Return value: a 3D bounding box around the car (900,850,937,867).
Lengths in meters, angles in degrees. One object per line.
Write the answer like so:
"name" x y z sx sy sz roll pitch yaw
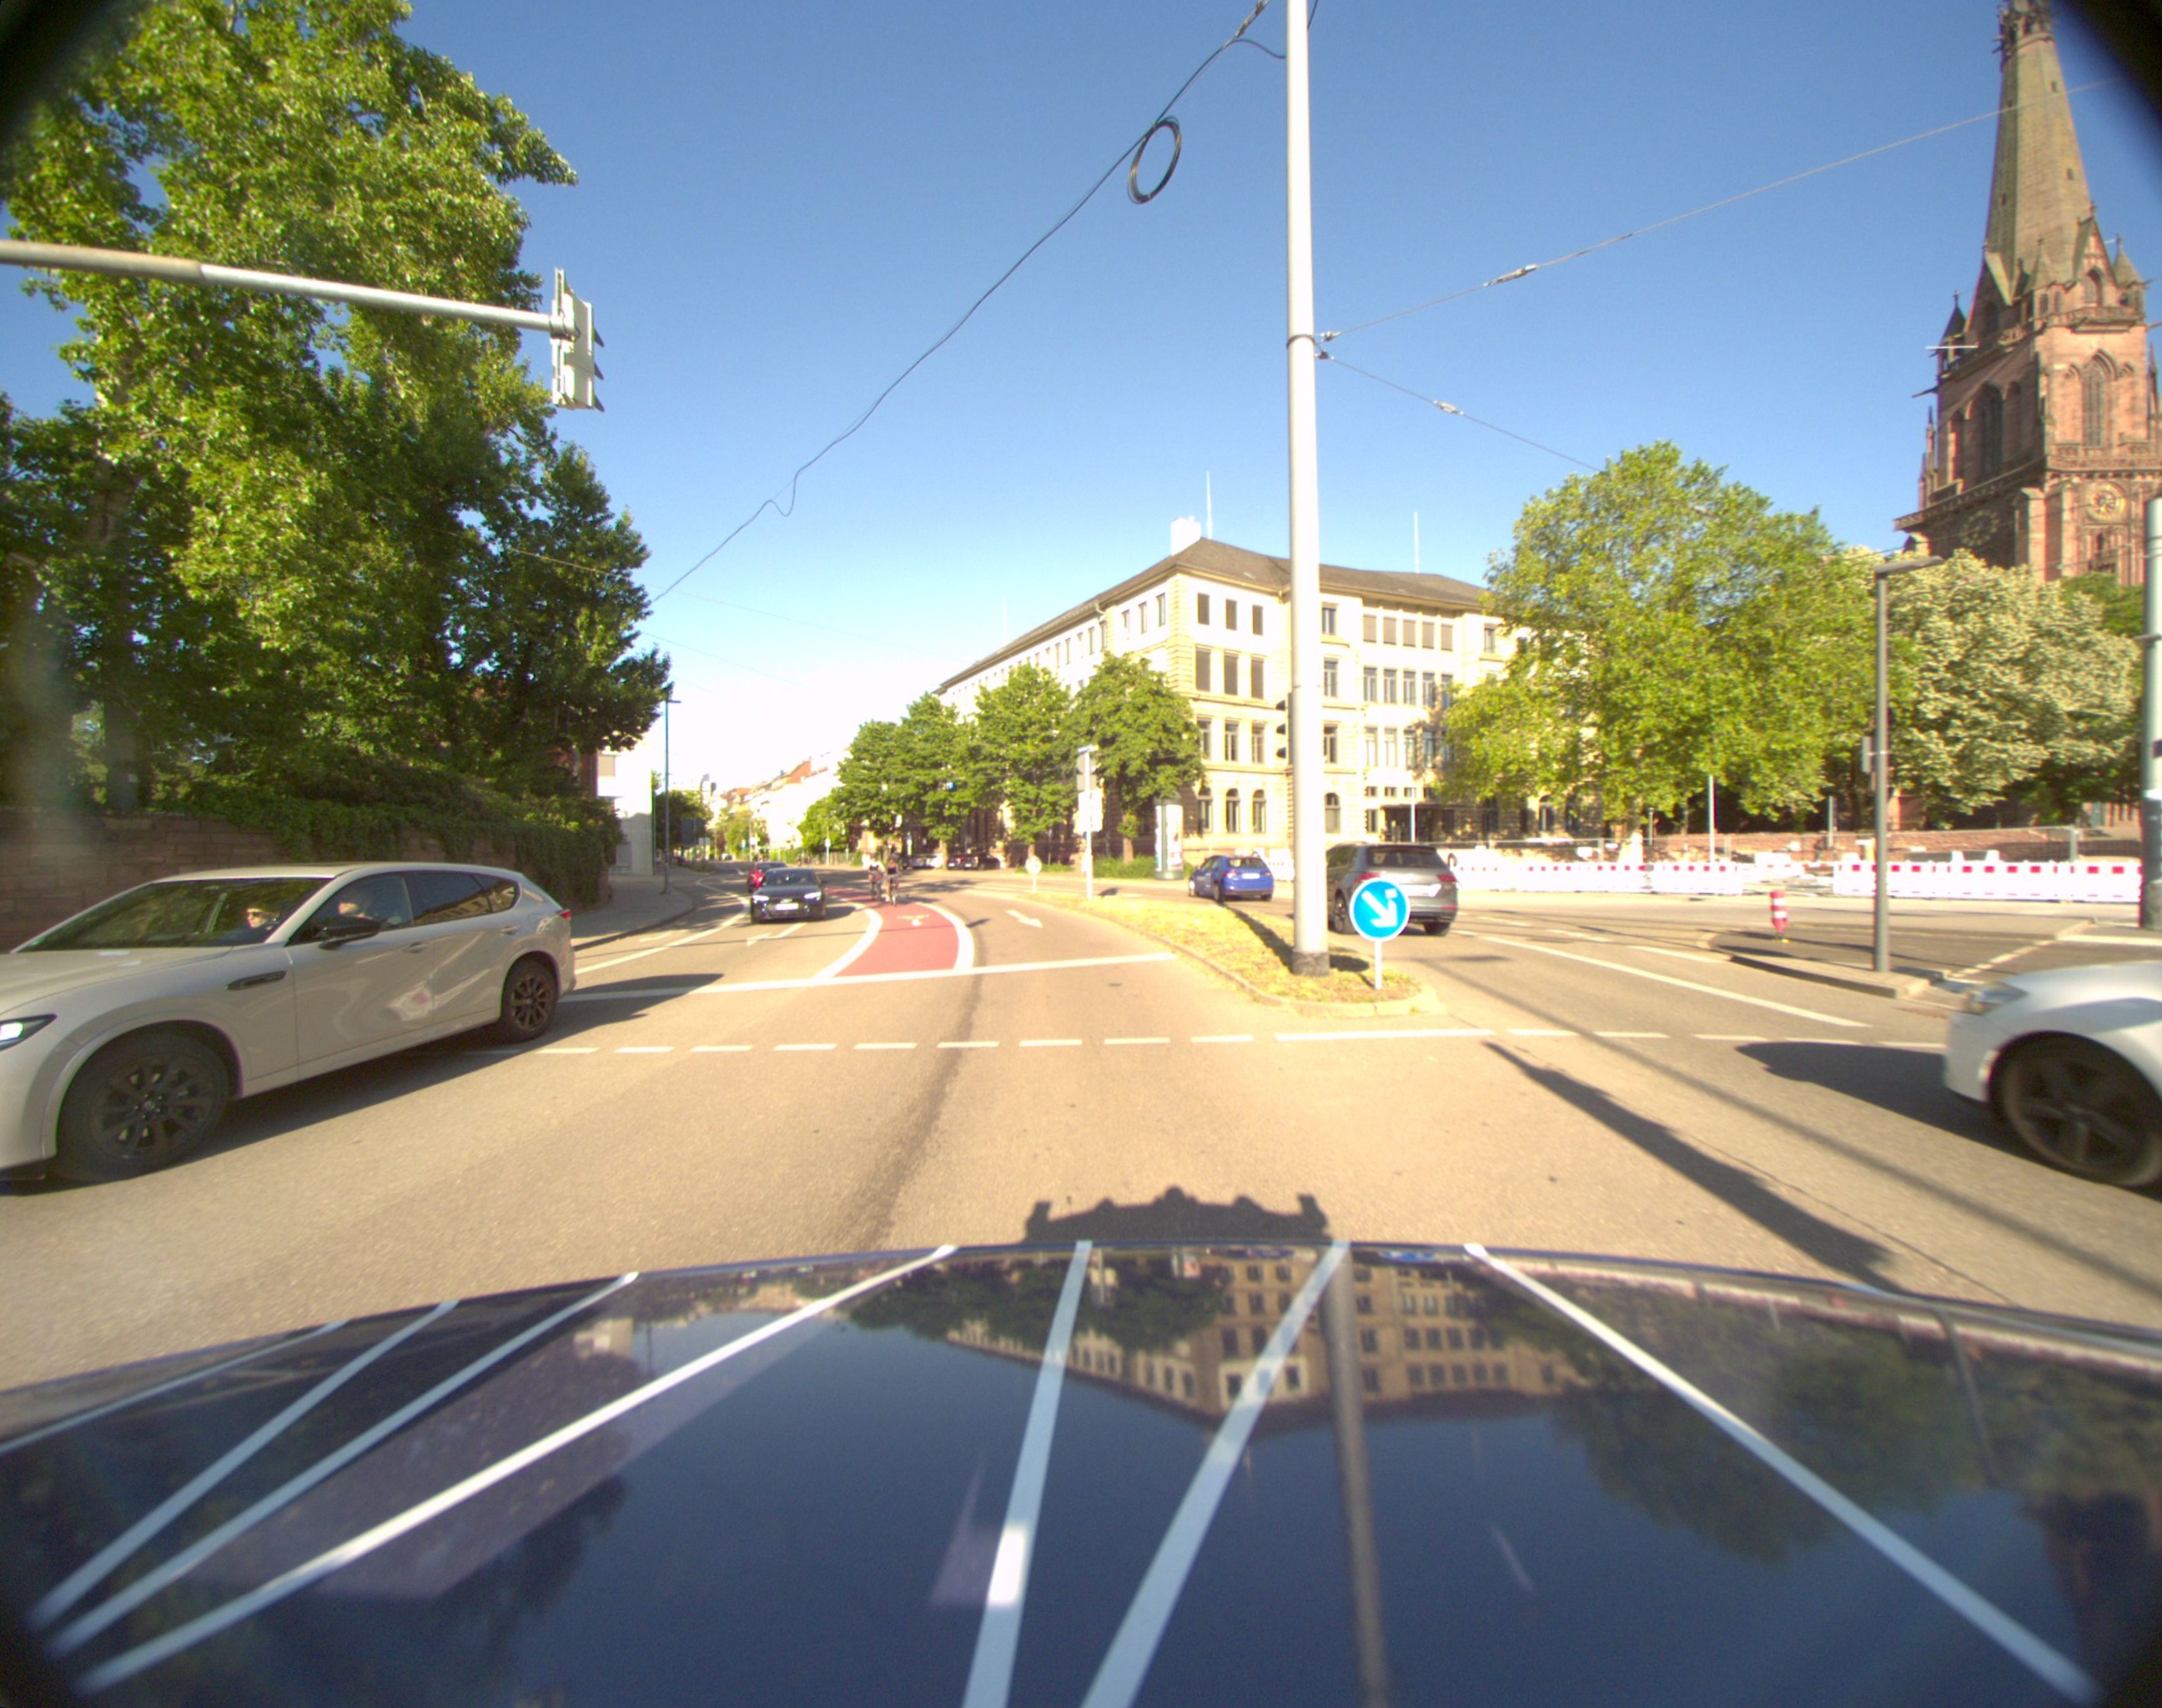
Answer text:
"car" -16.226 0.447 76.153 1.646 1.552 3.655 -2 2 26

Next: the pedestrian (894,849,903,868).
"pedestrian" -16.384 0.405 68.296 0.676 1.638 0.816 -2 1 -21

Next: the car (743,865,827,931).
"car" -7.883 1.105 20.563 1.790 1.425 3.993 -3 1 -18

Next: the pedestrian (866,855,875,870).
"pedestrian" -23.950 0.935 86.415 0.677 1.638 0.815 -2 1 -30

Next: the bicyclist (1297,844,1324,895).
"bicyclist" 7.576 0.501 25.107 0.710 1.648 0.743 0 1 2

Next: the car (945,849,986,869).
"car" -10.079 0.411 66.377 1.646 1.552 3.655 -2 2 26

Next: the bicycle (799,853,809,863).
"bicycle" -35.487 0.482 97.313 0.677 1.243 2.451 -1 1 -30

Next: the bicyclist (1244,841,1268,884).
"bicyclist" 6.857 0.327 29.859 0.710 1.648 0.901 2 1 2

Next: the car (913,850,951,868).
"car" -14.361 0.456 73.225 1.646 1.552 3.655 -2 2 26

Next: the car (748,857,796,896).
"car" -13.917 0.959 34.130 1.652 1.552 3.642 -3 2 -26

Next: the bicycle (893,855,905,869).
"bicycle" -16.382 0.715 68.303 0.677 1.243 2.452 -2 1 -21

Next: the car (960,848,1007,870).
"car" -8.216 0.408 64.251 1.841 1.622 4.187 -2 2 26

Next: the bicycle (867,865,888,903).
"bicycle" -7.330 1.063 27.377 0.676 1.243 2.453 -1 1 -15

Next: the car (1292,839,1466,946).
"car" 5.409 0.595 14.459 1.765 1.696 4.531 1 1 4

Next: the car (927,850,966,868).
"car" -12.640 0.438 71.504 1.646 1.552 3.655 -2 2 26

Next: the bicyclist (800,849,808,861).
"bicyclist" -35.486 0.129 97.317 0.677 1.638 1.027 -1 1 -30

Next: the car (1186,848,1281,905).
"car" 4.761 0.647 24.324 1.742 1.565 3.920 1 2 -8

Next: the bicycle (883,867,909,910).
"bicycle" -6.001 1.084 24.546 0.677 1.243 2.453 -1 1 -17

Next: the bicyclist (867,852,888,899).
"bicyclist" -7.290 0.740 27.210 0.676 1.638 1.028 -1 1 -15

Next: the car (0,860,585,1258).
"car" -5.989 0.995 5.406 1.945 1.683 4.529 -2 1 -2

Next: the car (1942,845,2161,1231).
"car" 5.113 0.747 1.846 1.698 1.551 3.981 -1 0 4

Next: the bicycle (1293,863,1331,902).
"bicycle" 7.569 0.911 24.993 0.676 1.173 2.183 0 1 2

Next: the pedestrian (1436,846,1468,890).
"pedestrian" 14.559 0.530 29.802 0.898 1.687 0.712 3 3 43

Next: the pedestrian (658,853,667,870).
"pedestrian" -40.023 0.717 72.691 0.677 1.638 0.815 -2 1 -30

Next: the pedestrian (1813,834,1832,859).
"pedestrian" 49.753 -0.482 50.957 0.638 1.638 0.675 -1 1 -8

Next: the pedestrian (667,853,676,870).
"pedestrian" -39.399 0.702 73.083 0.677 1.638 0.815 -2 1 -30

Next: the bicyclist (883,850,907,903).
"bicyclist" -5.989 0.708 24.492 0.676 1.638 1.027 -1 1 -17
